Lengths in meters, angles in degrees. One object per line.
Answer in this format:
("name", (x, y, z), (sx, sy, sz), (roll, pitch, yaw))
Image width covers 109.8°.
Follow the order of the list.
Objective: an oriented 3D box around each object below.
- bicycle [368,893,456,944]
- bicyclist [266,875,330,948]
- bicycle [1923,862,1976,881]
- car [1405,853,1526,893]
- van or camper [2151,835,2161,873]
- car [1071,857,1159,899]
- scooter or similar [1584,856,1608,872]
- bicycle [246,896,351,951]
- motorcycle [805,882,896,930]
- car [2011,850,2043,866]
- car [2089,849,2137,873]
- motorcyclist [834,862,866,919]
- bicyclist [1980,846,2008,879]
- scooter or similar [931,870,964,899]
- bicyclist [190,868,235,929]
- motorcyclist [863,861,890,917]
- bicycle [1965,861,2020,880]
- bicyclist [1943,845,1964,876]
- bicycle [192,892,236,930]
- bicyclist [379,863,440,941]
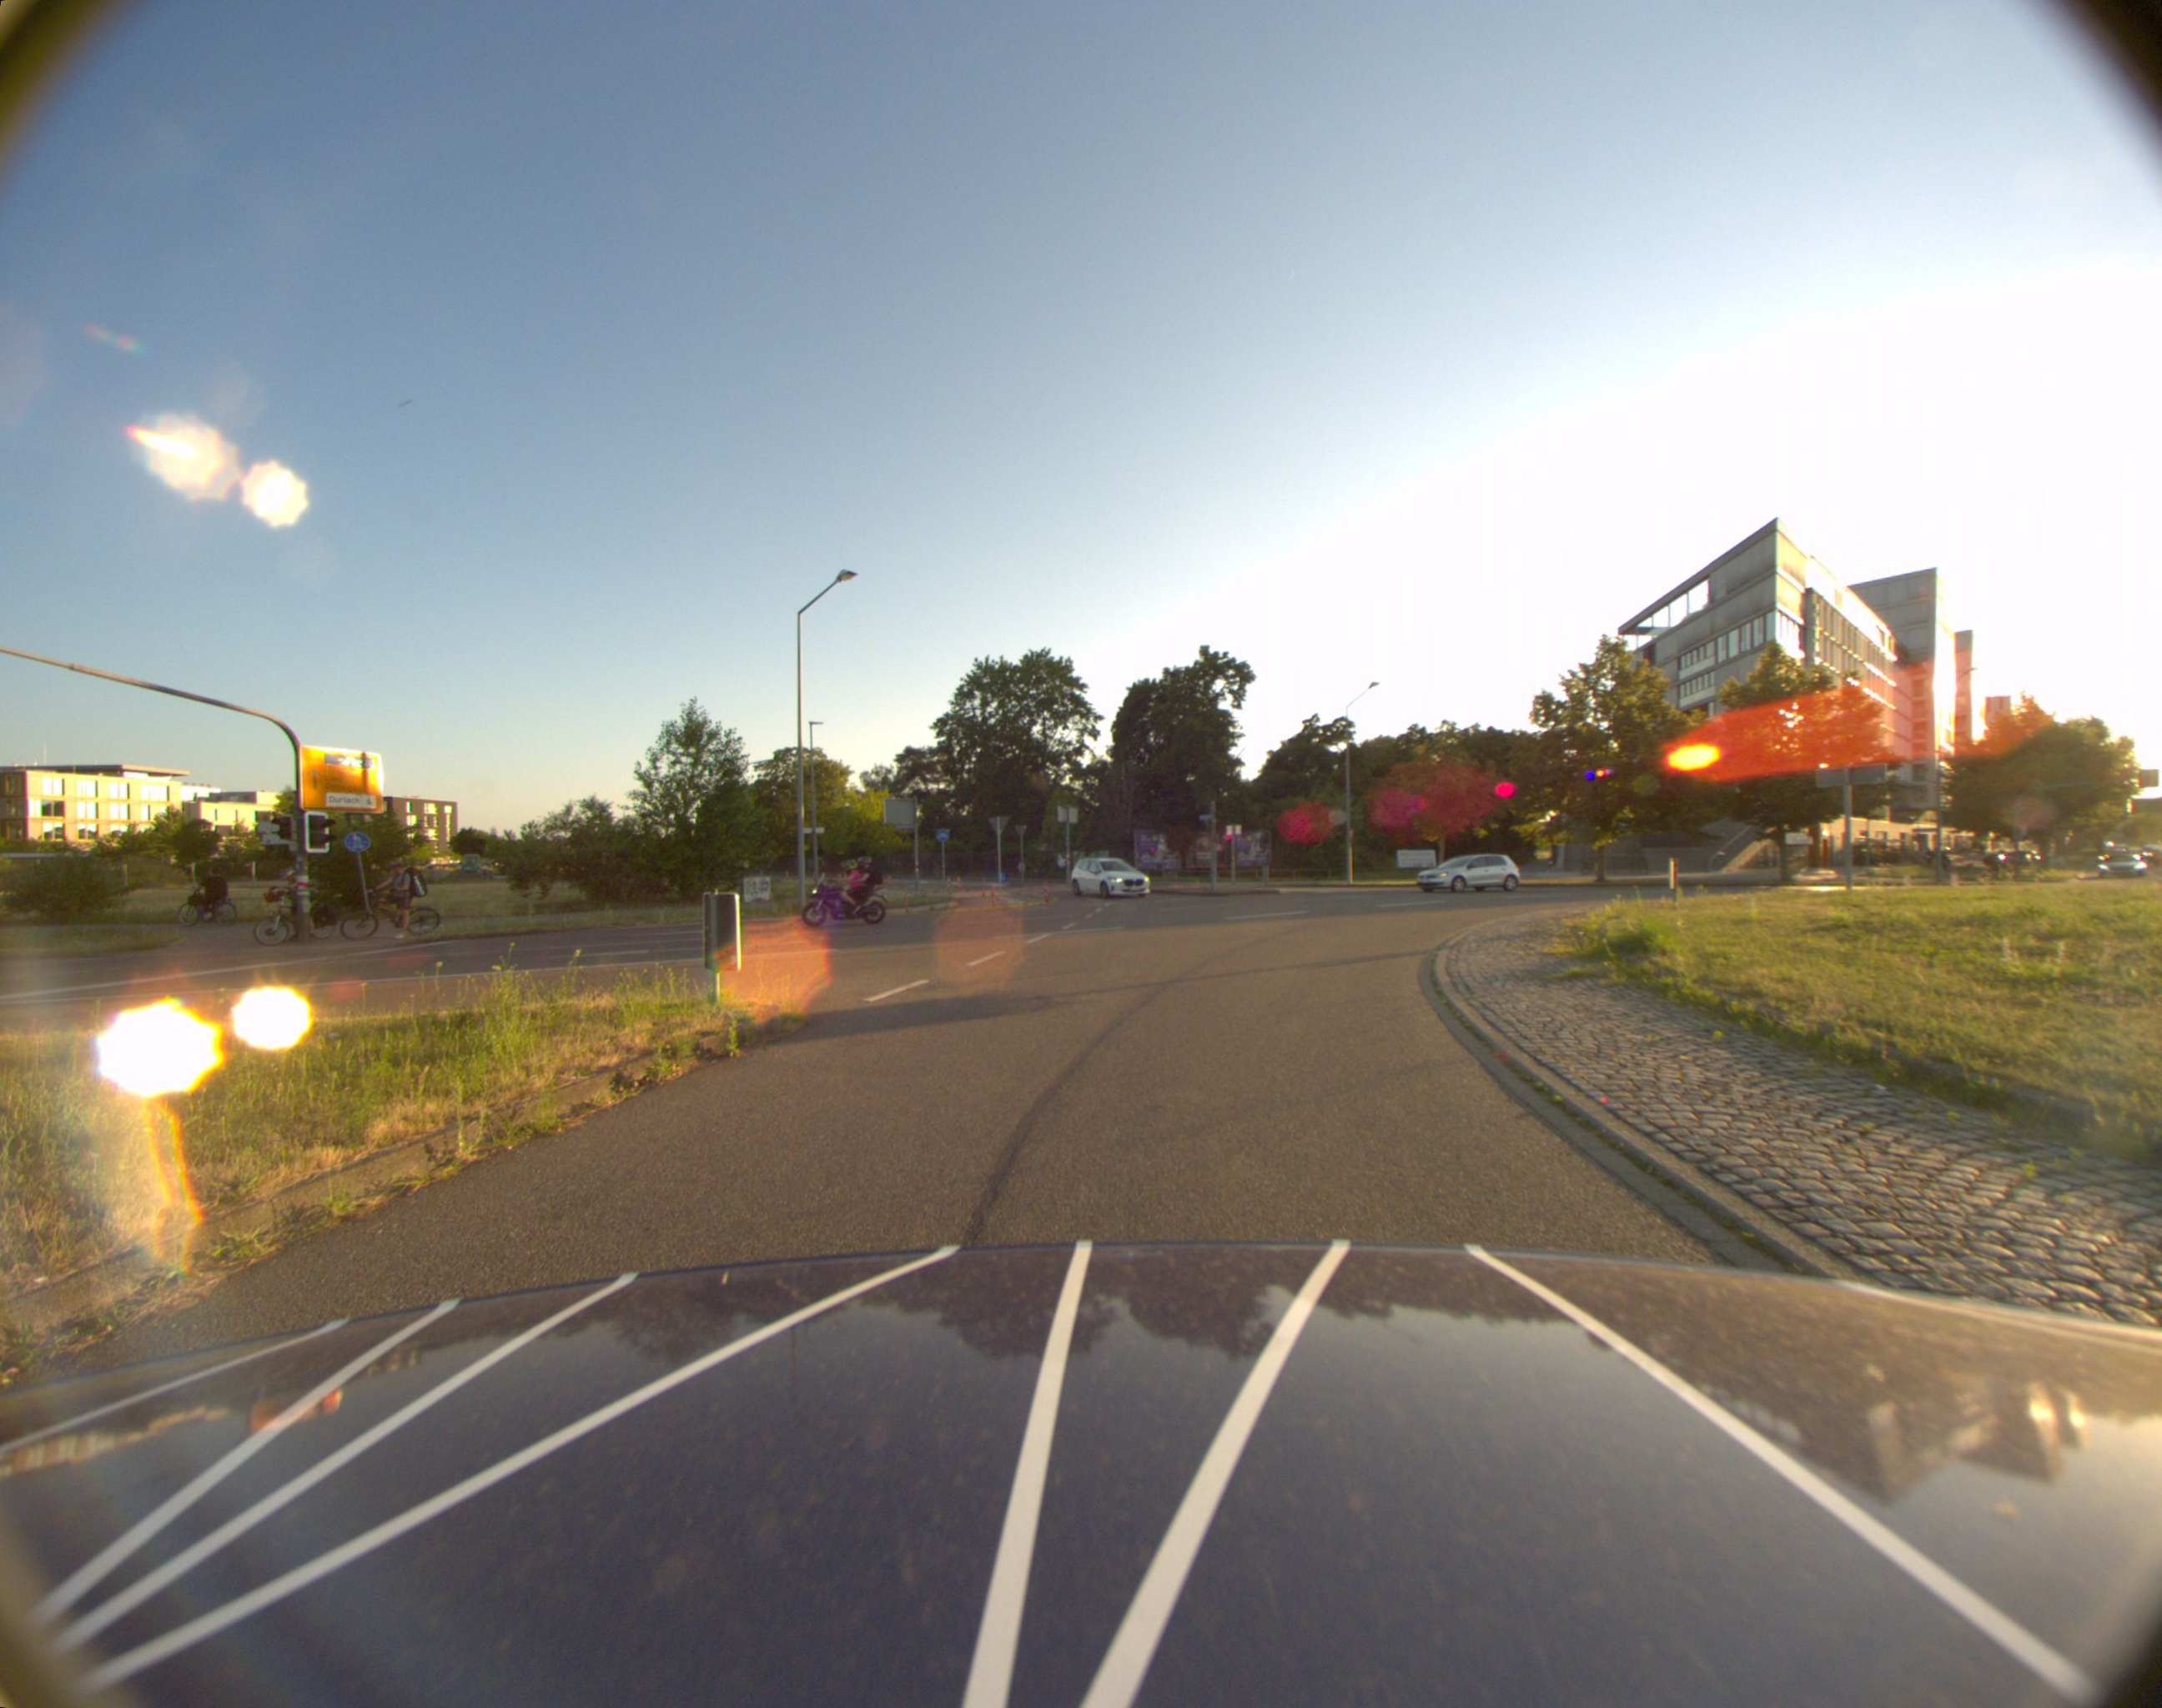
("bicycle", (-17.078, 1.615, 19.457), (0.456, 1.079, 1.928), (-1, 2, 2))
("bicyclist", (-19.042, 1.391, 18.495), (0.641, 1.693, 0.770), (-1, 3, 1))
("bicycle", (47.185, 0.936, 41.291), (1.858, 1.016, 0.308), (-1, 0, 44))
("car", (15.357, 0.726, 30.399), (4.052, 1.472, 1.890), (-1, 0, -13))
("van or camper", (58.202, -0.040, 39.413), (5.334, 1.946, 1.996), (-1, 0, -22))
("car", (1.296, 0.926, 31.037), (1.893, 1.549, 4.087), (-1, 0, -25))
("scooter or similar", (39.218, 0.752, 57.869), (0.367, 1.213, 1.574), (-1, 0, -27))
("bicycle", (-19.039, 1.673, 18.553), (0.456, 1.079, 1.928), (-1, 3, 2))
("motorcycle", (-5.900, 1.309, 19.472), (2.162, 1.094, 0.557), (-1, 1, -23))
("car", (90.121, 0.363, 72.405), (4.008, 1.455, 1.798), (0, 0, -37))
("car", (67.034, 0.444, 49.420), (4.007, 1.455, 1.798), (-1, 0, -37))
("motorcyclist", (-5.930, 0.916, 19.485), (0.715, 1.408, 0.687), (-1, 1, -22))
("bicyclist", (49.306, 0.436, 41.053), (0.805, 1.745, 0.847), (-1, 0, -30))
("scooter or similar", (-5.543, 1.260, 31.640), (0.441, 1.156, 1.386), (0, 0, 39))
("bicyclist", (-25.502, 1.299, 22.316), (0.842, 1.733, 0.537), (-1, 0, 15))
("motorcyclist", (-5.317, 0.894, 19.736), (0.595, 1.400, 0.635), (-1, 1, -22))
("bicycle", (49.558, 0.900, 41.317), (0.438, 1.016, 1.859), (-1, 0, -29))
("bicyclist", (47.426, 0.362, 41.321), (0.682, 1.638, 0.685), (0, 0, 44))
("bicycle", (-25.455, 1.655, 22.298), (1.370, 1.082, 0.280), (-1, 0, 16))
("bicyclist", (-17.014, 1.190, 19.284), (0.641, 1.887, 0.910), (-1, 2, 1))
